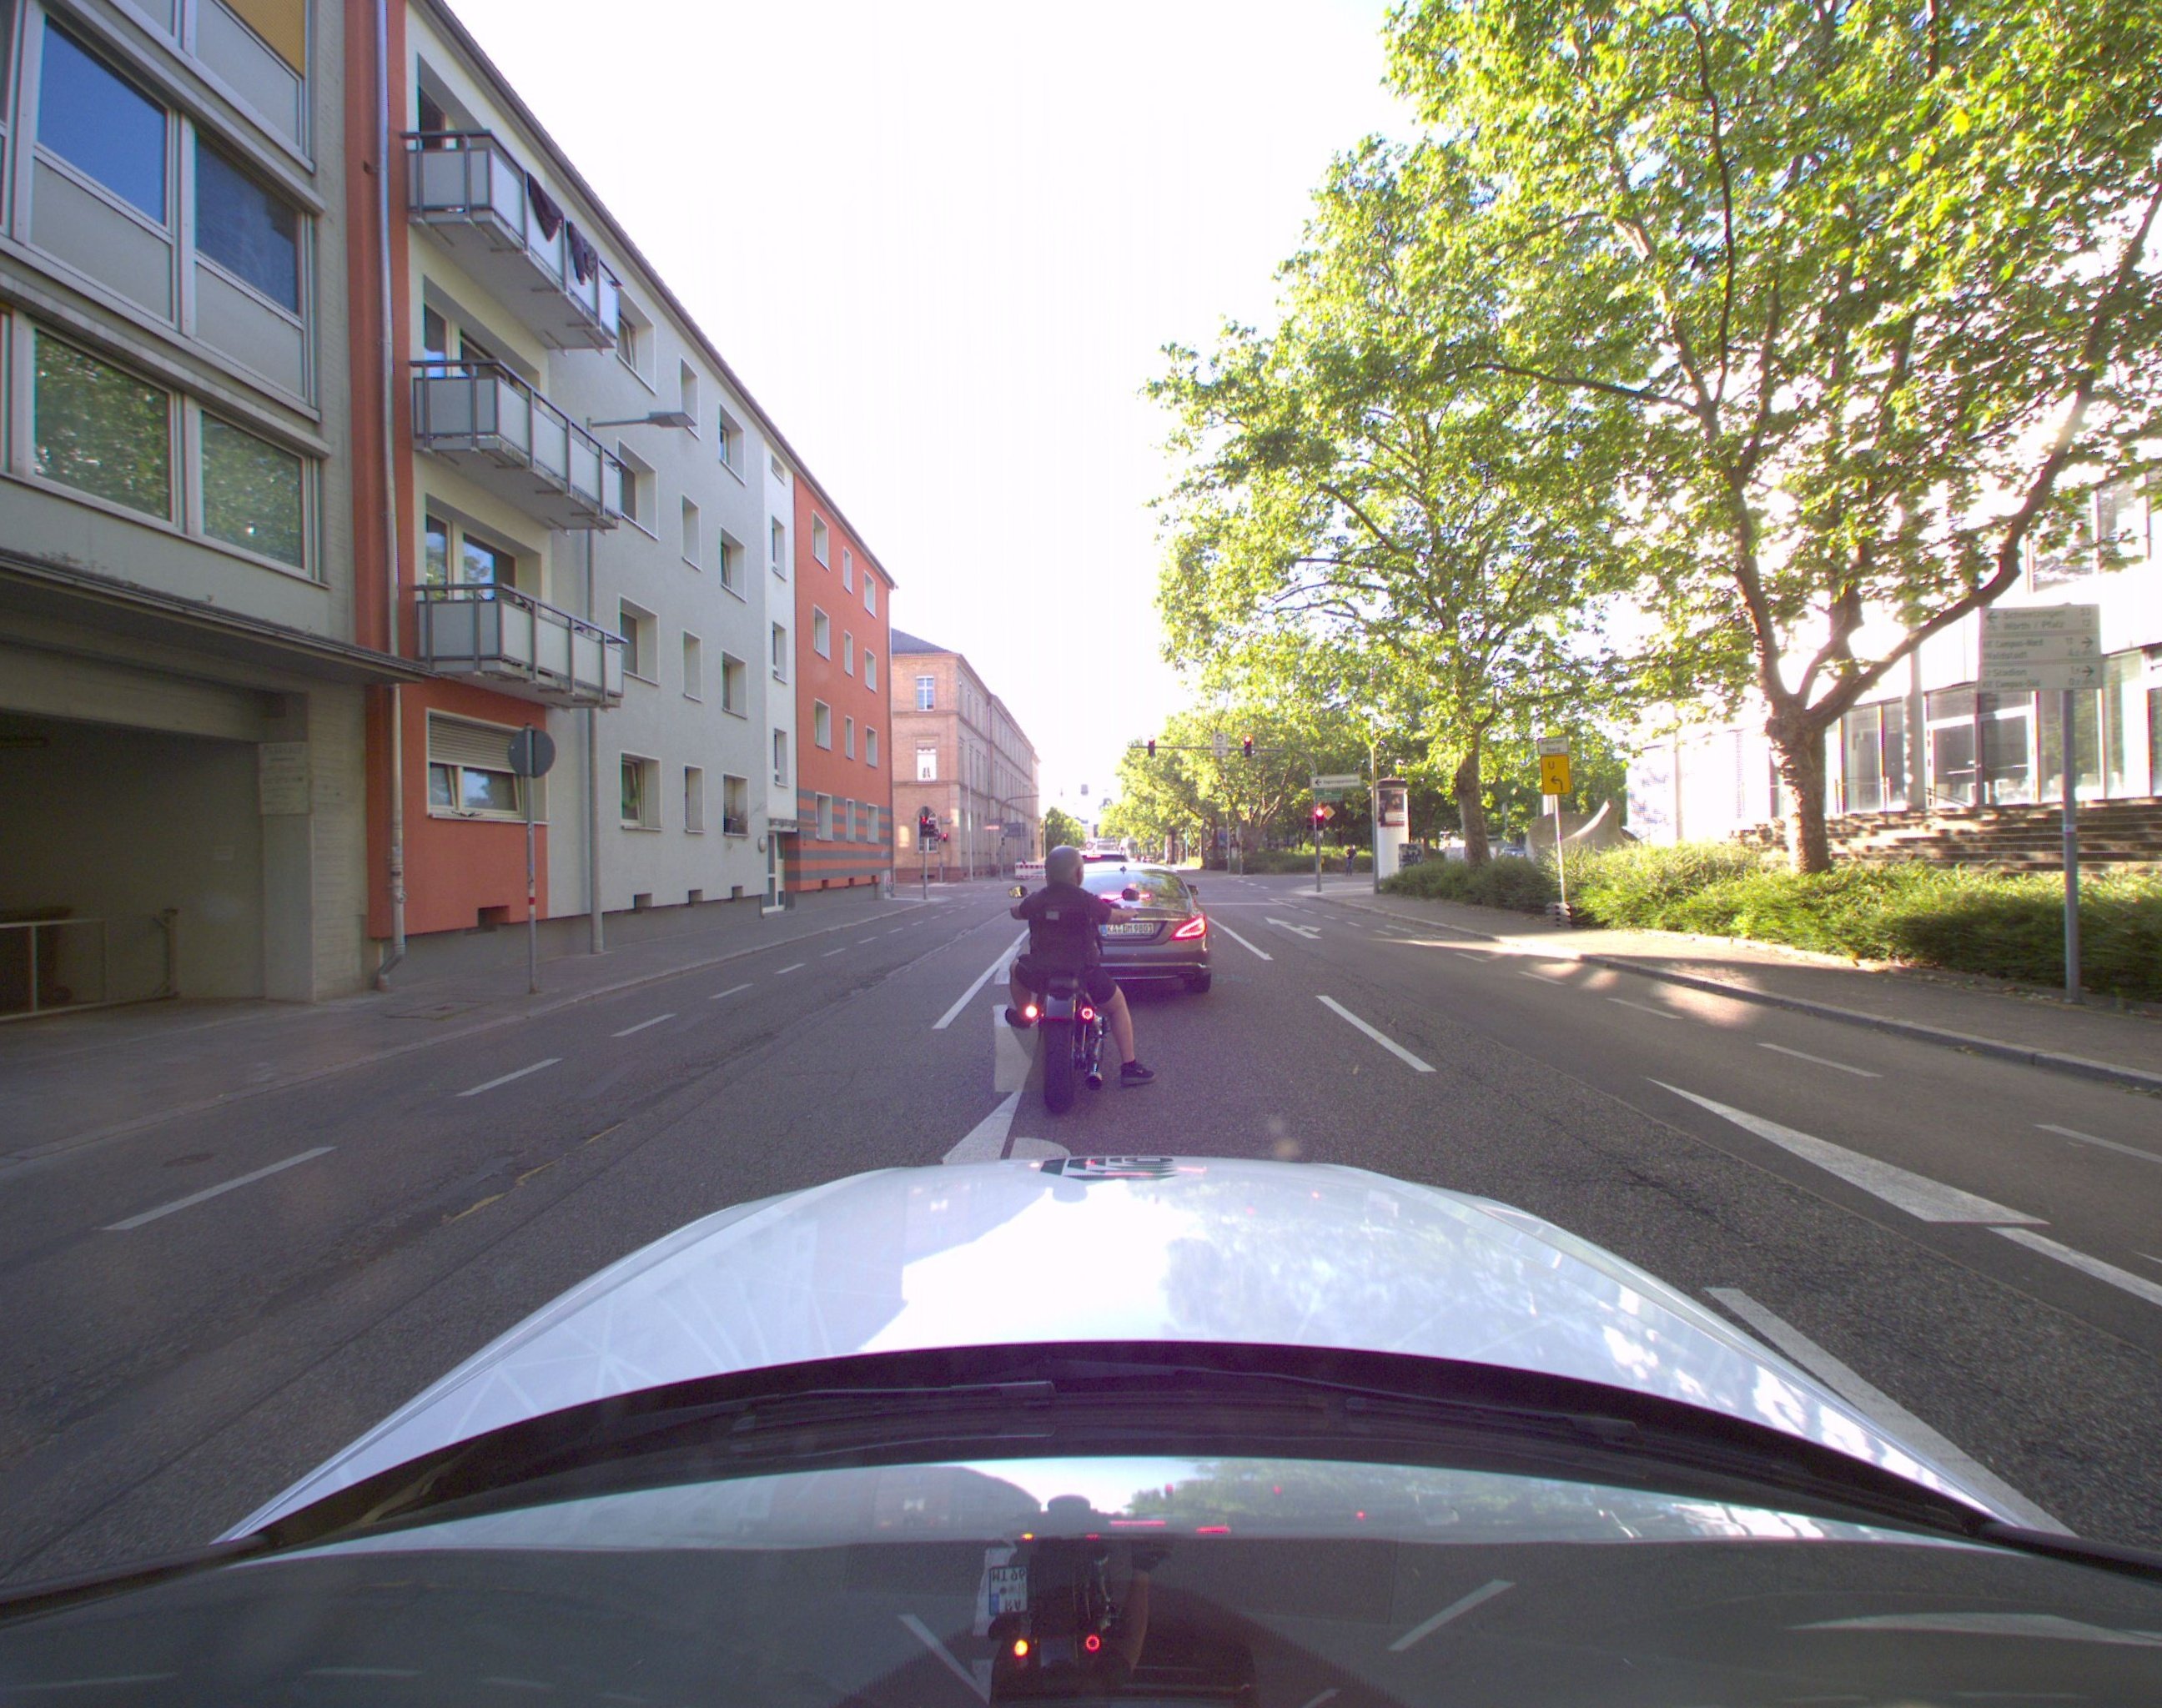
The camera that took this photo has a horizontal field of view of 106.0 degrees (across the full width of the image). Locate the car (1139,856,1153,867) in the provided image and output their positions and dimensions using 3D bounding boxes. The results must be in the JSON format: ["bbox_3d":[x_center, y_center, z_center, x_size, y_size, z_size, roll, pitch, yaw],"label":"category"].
[{"bbox_3d":[8.199,0.939,102.964,1.625,1.259,3.717,0,0,2],"label":"car"}]

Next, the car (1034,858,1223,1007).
[{"bbox_3d":[0.517,0.777,9.791,1.815,1.437,3.807,0,-1,2],"label":"car"}]

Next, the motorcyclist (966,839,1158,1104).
[{"bbox_3d":[-0.073,0.703,5.416,1.093,1.566,1.074,0,-1,8],"label":"motorcyclist"}]

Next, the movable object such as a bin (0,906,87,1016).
[{"bbox_3d":[-11.288,1.114,8.660,0.533,1.079,0.723,0,-1,3],"label":"movable object such as a bin"}]

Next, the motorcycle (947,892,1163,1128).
[{"bbox_3d":[-0.045,0.910,5.634,1.111,1.207,2.217,0,-1,8],"label":"motorcycle"}]

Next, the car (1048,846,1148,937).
[{"bbox_3d":[0.378,0.708,17.080,1.856,1.678,4.001,0,-1,2],"label":"car"}]

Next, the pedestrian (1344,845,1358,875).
[{"bbox_3d":[16.287,0.342,49.060,0.729,1.778,0.733,-1,-1,22],"label":"pedestrian"}]
